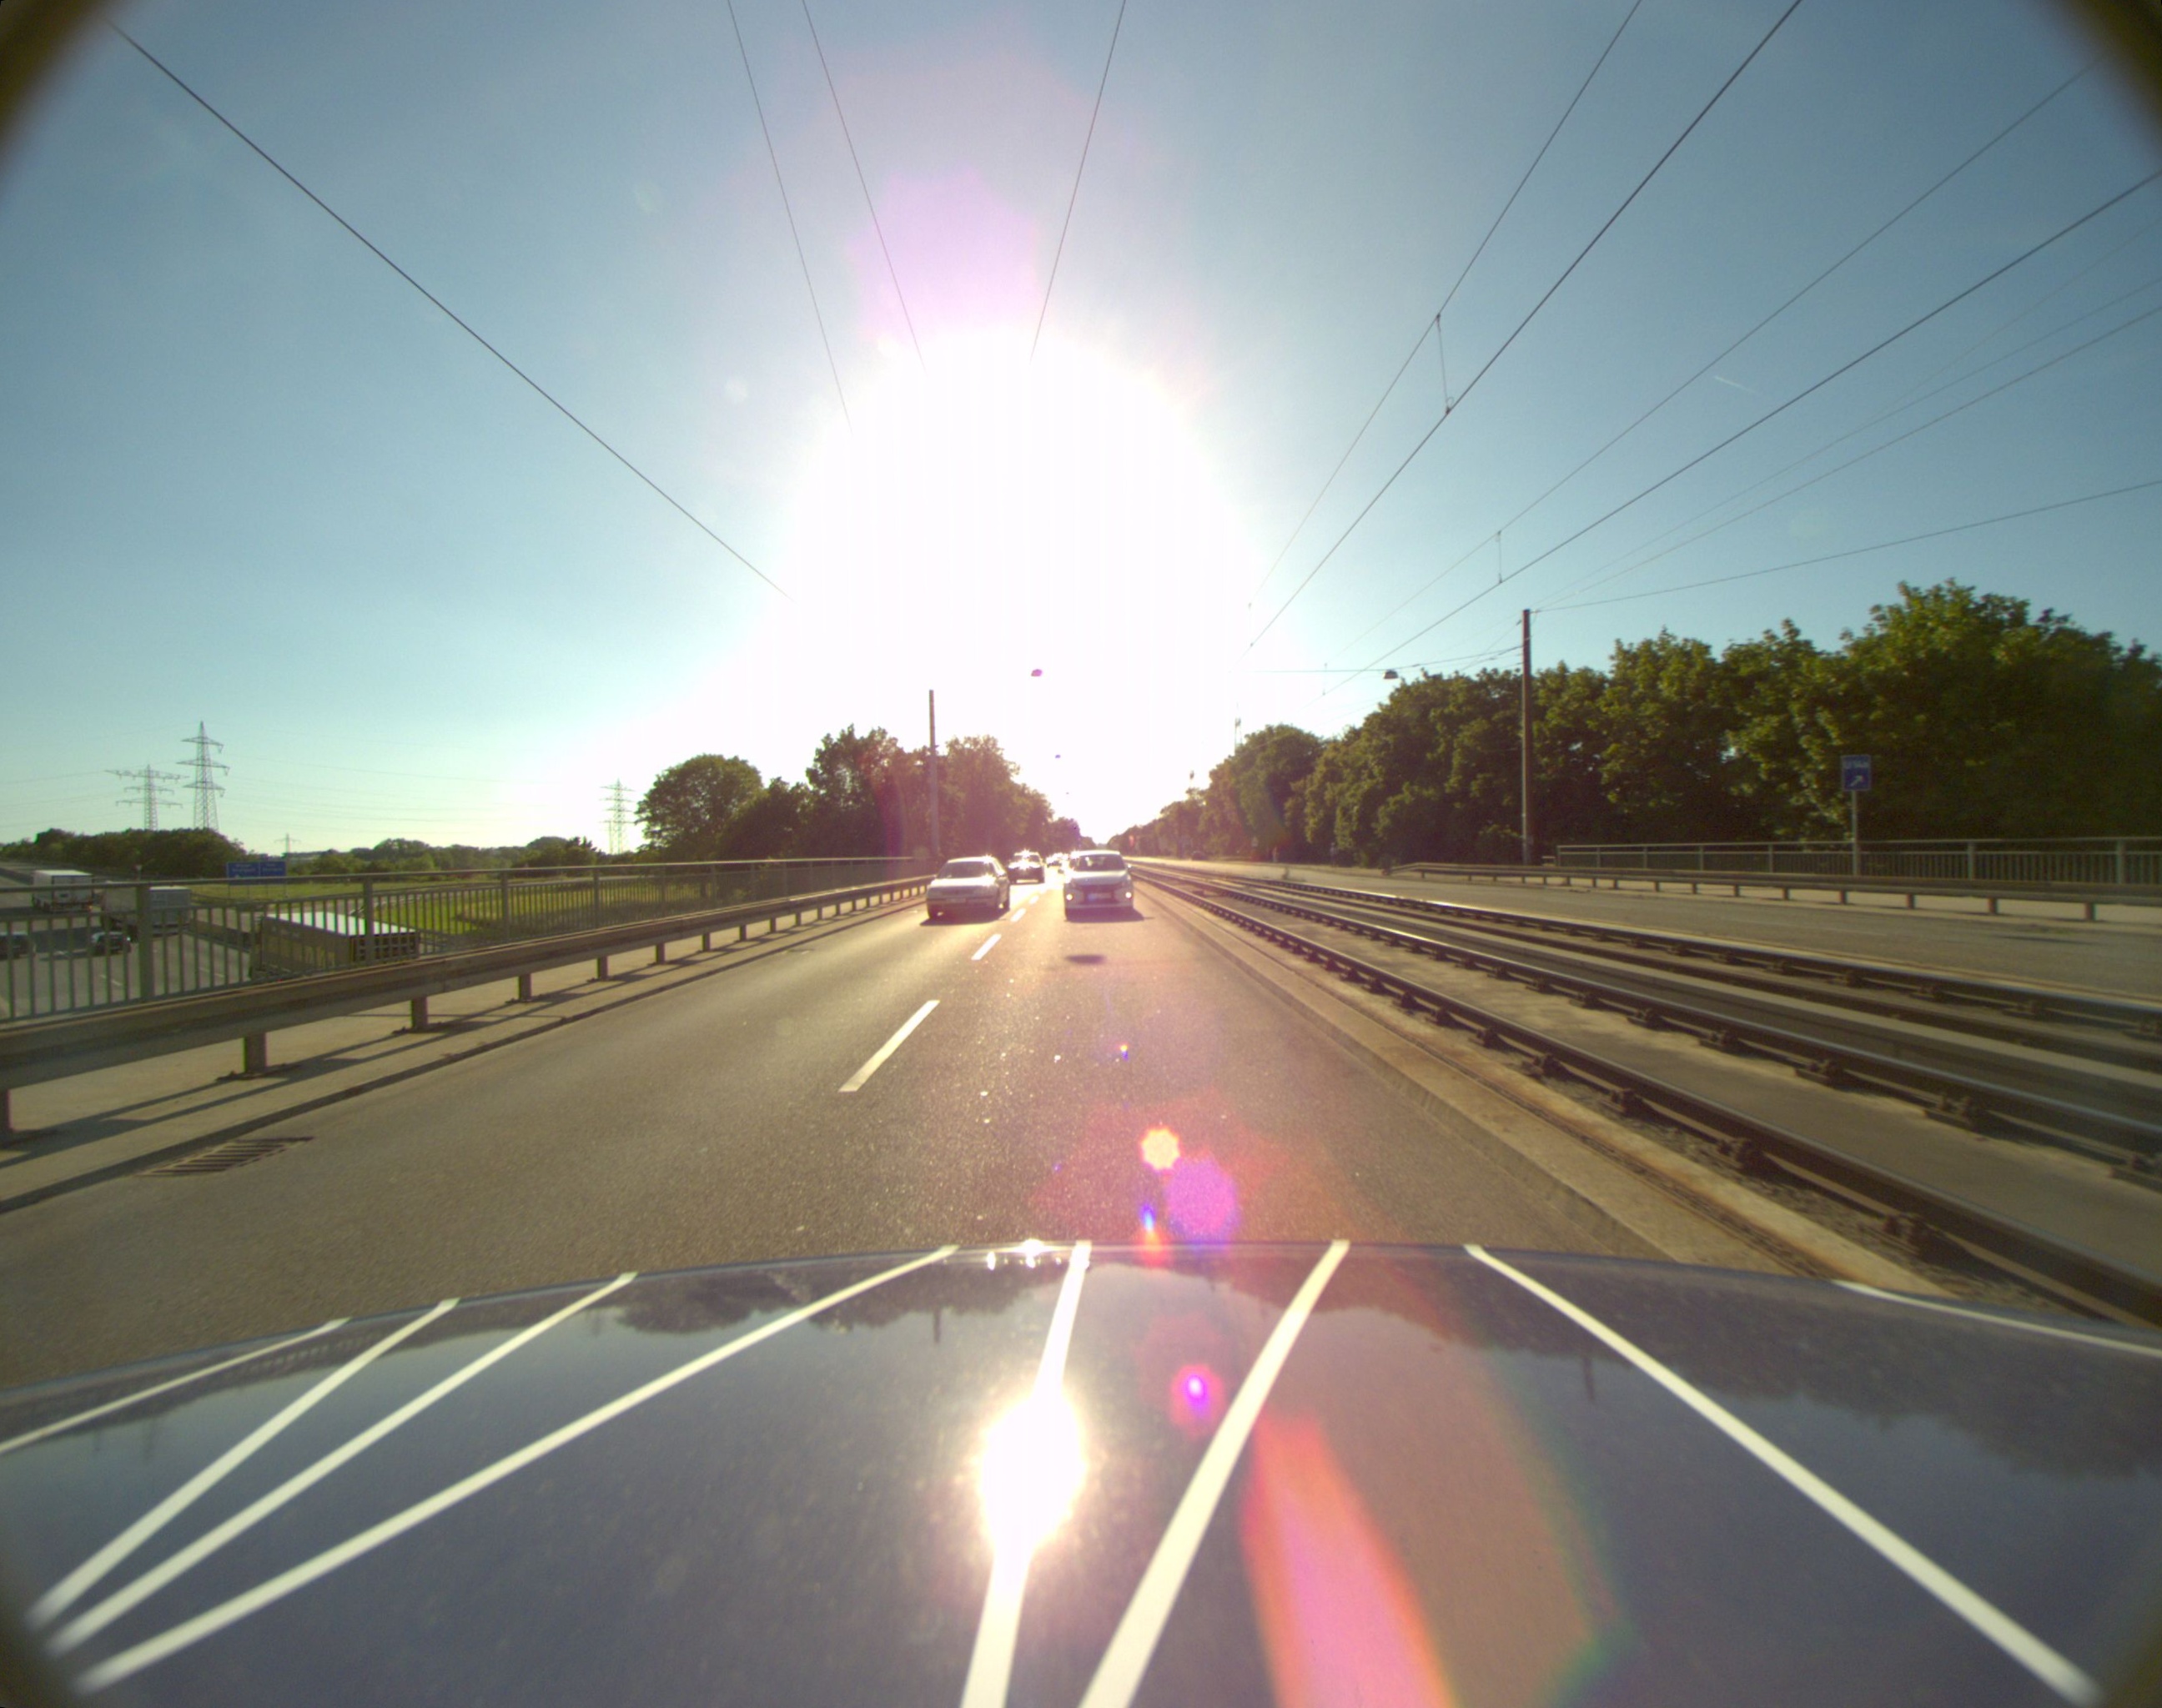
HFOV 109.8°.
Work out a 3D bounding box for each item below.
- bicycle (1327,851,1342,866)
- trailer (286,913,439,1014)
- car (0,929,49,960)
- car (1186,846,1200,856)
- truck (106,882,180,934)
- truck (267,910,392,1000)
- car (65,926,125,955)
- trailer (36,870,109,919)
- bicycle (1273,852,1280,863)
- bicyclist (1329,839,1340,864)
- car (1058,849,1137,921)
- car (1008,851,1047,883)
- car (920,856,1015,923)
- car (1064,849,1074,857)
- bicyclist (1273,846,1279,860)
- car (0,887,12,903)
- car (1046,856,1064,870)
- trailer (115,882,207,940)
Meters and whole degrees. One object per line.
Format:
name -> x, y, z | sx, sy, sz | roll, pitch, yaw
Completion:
bicycle -> 18.208, 0.310, 54.561 | 0.505, 1.046, 1.727 | -3, 1, 1
trailer -> -36.566, 5.322, 38.556 | 9.346, 3.835, 3.060 | 1, 4, 31
car -> -71.484, 6.076, 51.299 | 4.054, 1.507, 1.891 | 1, 2, 34
car -> 19.429, -0.537, 131.881 | 1.977, 1.512, 3.956 | -3, 1, 1
truck -> -83.551, 4.690, 67.671 | 6.361, 4.253, 3.285 | 1, 0, 31
truck -> -40.601, 5.275, 41.034 | 6.587, 3.861, 3.060 | 1, 4, 31
car -> -68.850, 6.021, 53.072 | 3.949, 1.507, 1.891 | 0, 2, 29
trailer -> -106.009, 4.105, 79.801 | 13.078, 4.436, 3.060 | 1, 4, 31
bicycle -> 19.590, 0.337, 76.172 | 0.425, 0.958, 1.913 | -2, 1, 7
bicyclist -> 18.188, -0.206, 54.515 | 0.498, 1.741, 0.833 | -3, 2, 0
car -> 0.421, 0.683, 19.008 | 1.709, 1.503, 3.862 | -3, 1, 1
car -> -2.839, 0.670, 41.289 | 1.709, 1.512, 3.844 | -3, 1, 1
car -> -2.814, 0.830, 19.674 | 1.693, 1.409, 4.134 | -3, 1, 1
car -> -2.629, -0.269, 163.488 | 1.904, 1.512, 3.956 | -3, 1, 1
bicyclist -> 19.553, -0.087, 76.030 | 0.422, 1.421, 0.754 | -2, 2, 7
car -> -127.673, 4.876, 89.391 | 3.948, 1.507, 1.704 | 3, 4, 28
car -> -3.077, 1.070, 90.135 | 1.904, 1.512, 3.956 | -3, 1, 1
trailer -> -77.792, 4.632, 64.136 | 11.520, 4.249, 3.315 | 1, 0, 31
